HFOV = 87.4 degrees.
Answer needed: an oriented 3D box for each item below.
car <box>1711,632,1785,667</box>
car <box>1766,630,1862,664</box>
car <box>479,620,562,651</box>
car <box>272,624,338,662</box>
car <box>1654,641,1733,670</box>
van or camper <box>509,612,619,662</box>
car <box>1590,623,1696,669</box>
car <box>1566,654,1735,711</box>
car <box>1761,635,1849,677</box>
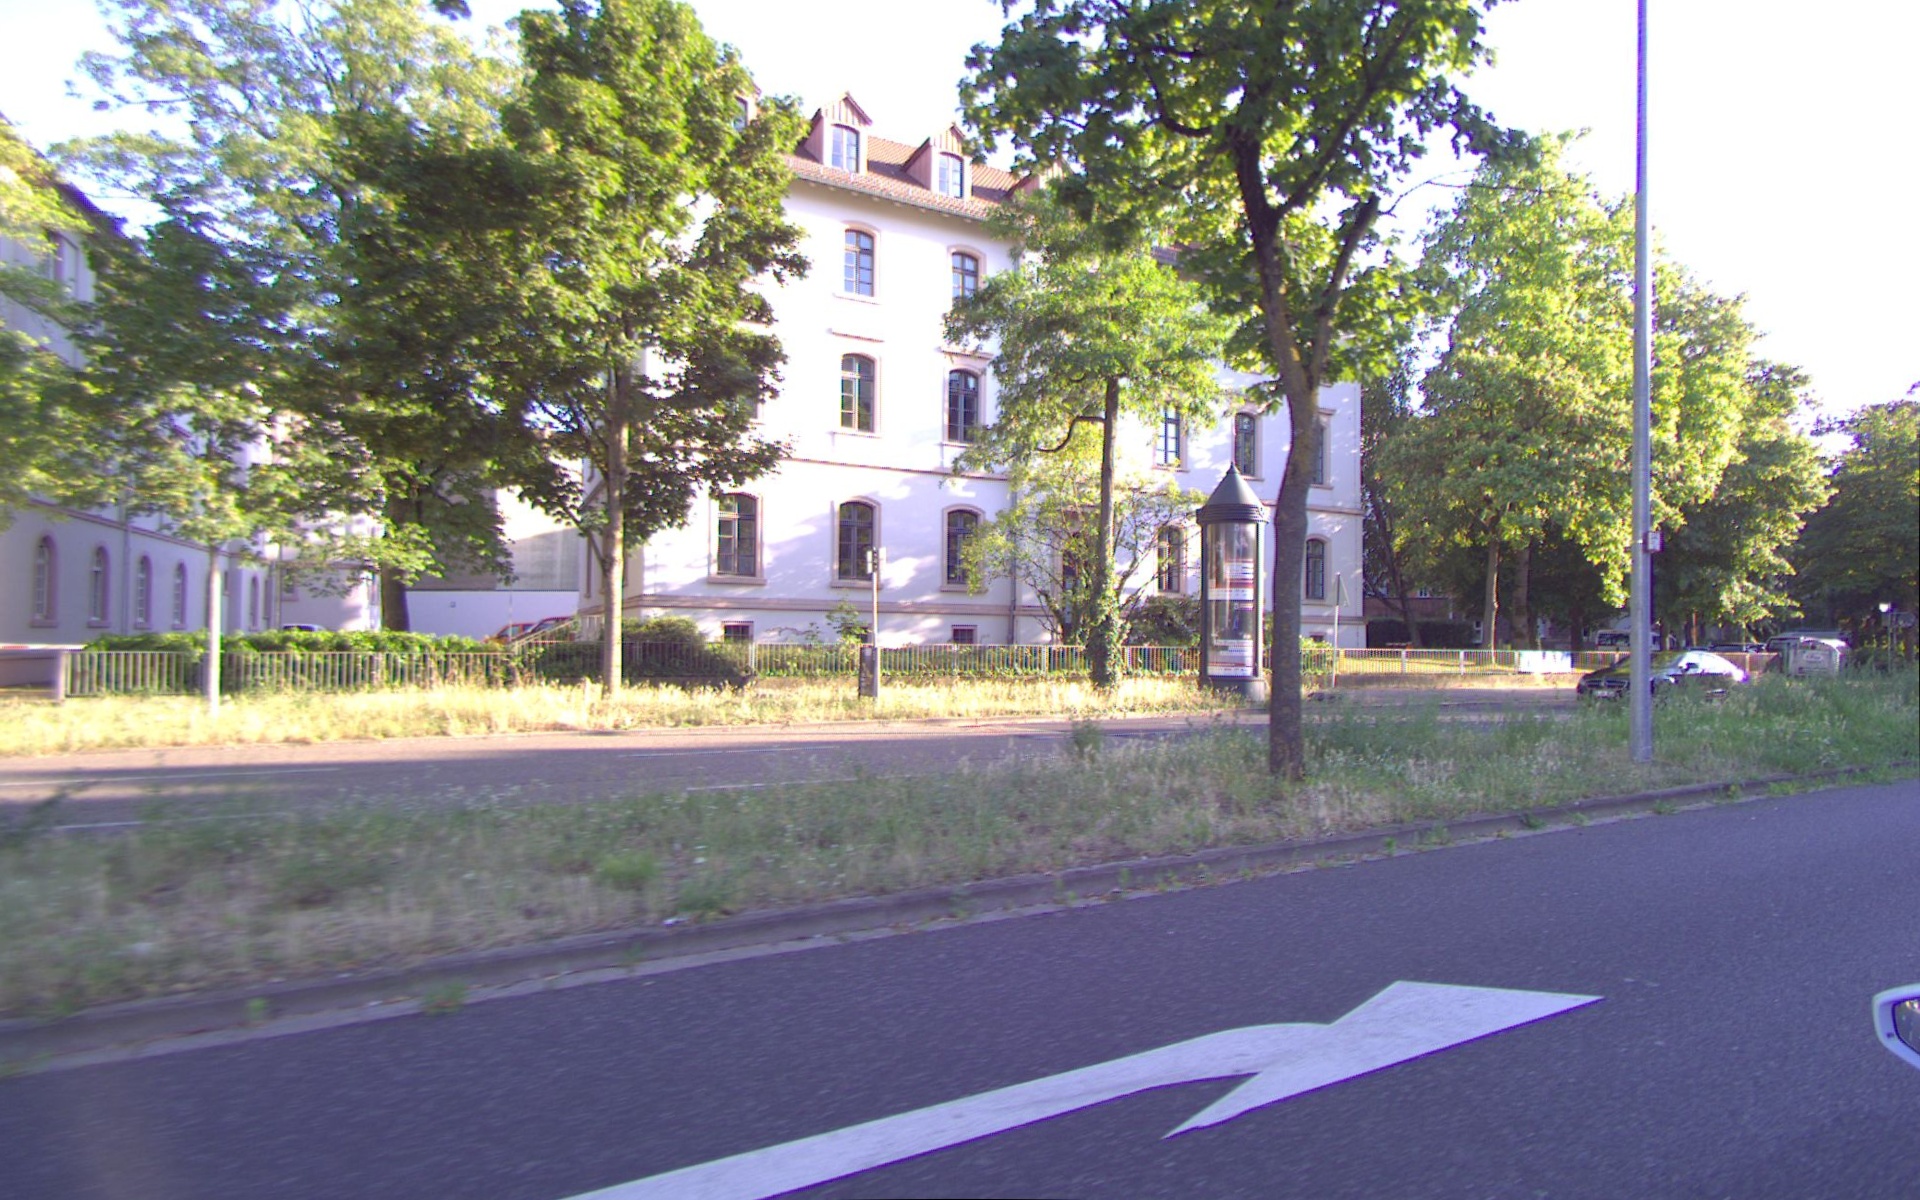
[{"bbox_3d":[45.810,2.873,58.406,3.951,1.907,1.985,2,0,-29],"label":"car"},{"bbox_3d":[65.354,3.589,76.979,5.128,2.518,2.275,0,-2,10],"label":"car"},{"bbox_3d":[-22.887,1.850,52.284,3.767,1.518,1.984,2,0,-30],"label":"car"},{"bbox_3d":[-28.358,1.859,43.602,1.755,1.568,3.984,1,-2,-24],"label":"car"},{"bbox_3d":[36.722,2.767,50.270,3.951,1.350,1.725,2,-1,-29],"label":"car"},{"bbox_3d":[-17.713,1.655,44.978,4.320,2.107,1.984,2,0,-30],"label":"van or camper"},{"bbox_3d":[36.090,2.454,53.067,5.024,2.319,2.211,2,-1,-22],"label":"car"},{"bbox_3d":[16.884,1.999,24.542,3.958,1.289,1.767,2,-5,-29],"label":"car"},{"bbox_3d":[38.795,2.549,46.096,3.951,1.819,1.811,2,-1,-29],"label":"car"}]
